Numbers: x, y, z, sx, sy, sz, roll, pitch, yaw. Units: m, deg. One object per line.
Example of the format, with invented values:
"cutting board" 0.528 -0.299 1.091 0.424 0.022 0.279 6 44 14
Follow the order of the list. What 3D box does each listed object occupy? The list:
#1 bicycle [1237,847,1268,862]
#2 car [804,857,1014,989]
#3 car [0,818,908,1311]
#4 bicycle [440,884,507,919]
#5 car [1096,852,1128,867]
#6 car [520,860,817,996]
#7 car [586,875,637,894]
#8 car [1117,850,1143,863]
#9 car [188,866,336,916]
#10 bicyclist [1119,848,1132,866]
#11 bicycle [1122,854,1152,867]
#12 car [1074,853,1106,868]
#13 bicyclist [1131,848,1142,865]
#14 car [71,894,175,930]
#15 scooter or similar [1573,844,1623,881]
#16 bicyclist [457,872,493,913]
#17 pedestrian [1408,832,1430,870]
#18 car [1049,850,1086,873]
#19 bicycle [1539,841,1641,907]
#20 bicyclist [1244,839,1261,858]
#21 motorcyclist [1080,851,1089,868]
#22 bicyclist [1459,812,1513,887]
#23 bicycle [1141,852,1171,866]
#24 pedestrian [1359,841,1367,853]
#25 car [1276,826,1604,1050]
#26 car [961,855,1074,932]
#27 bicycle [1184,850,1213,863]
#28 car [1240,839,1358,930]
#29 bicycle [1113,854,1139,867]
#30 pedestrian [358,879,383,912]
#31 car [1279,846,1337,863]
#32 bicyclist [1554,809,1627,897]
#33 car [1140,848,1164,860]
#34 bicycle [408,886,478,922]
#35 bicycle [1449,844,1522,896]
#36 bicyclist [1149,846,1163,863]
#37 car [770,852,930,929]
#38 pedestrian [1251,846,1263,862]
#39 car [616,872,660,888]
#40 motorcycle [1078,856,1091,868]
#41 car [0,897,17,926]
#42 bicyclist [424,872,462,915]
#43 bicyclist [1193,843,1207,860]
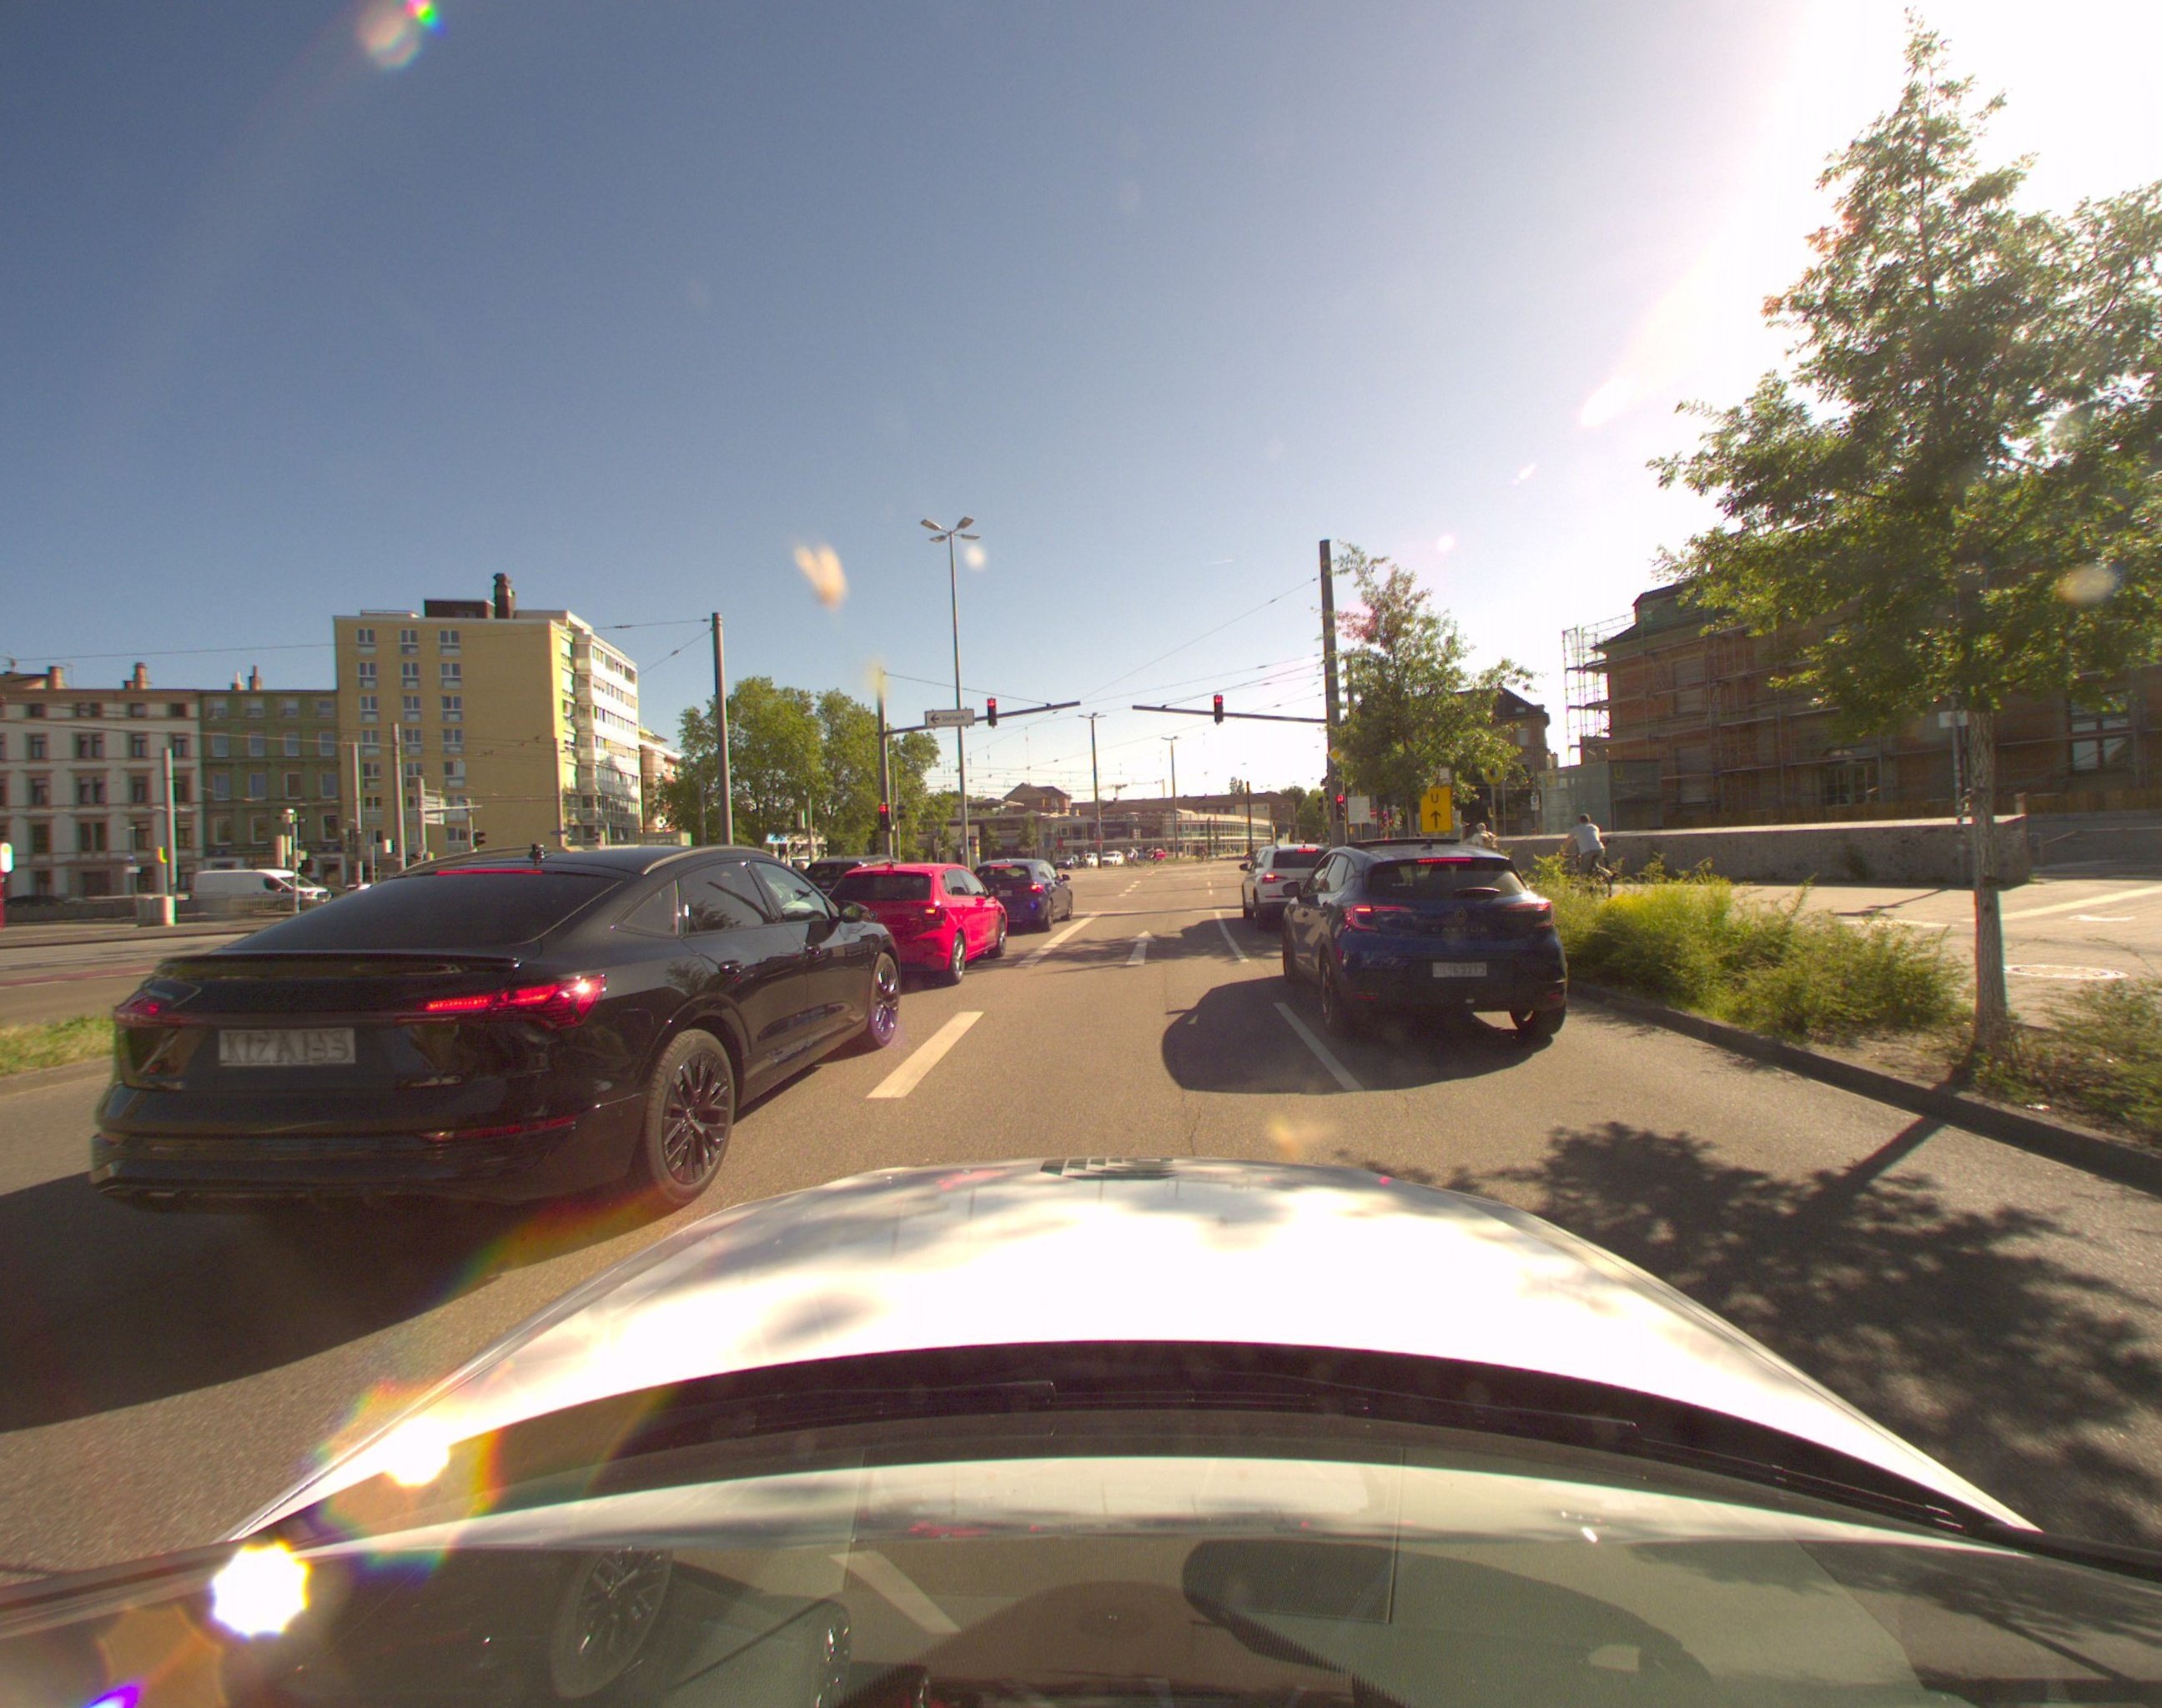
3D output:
"bicycle" 15.809 0.037 75.108 2.655 1.188 0.941 -2 2 -20
"car" -2.089 0.771 10.982 1.663 1.442 3.728 0 0 7
"car" -2.593 0.708 4.908 1.976 1.624 4.380 -1 0 2
"bicycle" -21.980 1.718 29.475 1.942 1.165 0.644 -2 0 3
"car" 3.183 0.550 83.091 1.709 1.442 4.208 -2 0 24
"car" -5.113 0.824 10.753 1.717 1.442 3.804 -1 0 5
"car" -41.371 2.707 71.825 3.437 1.510 1.685 -2 0 -14
"car" 5.829 0.280 97.164 1.709 1.442 4.208 0 0 24
"car" -45.122 2.002 45.003 5.490 2.411 1.992 -2 0 -12
"bicyclist" 4.145 0.243 75.162 0.986 1.604 0.756 -2 0 -11
"bicycle" 5.009 0.572 72.971 2.634 1.095 0.969 -2 0 0
"car" 0.979 0.642 85.612 1.709 1.442 4.208 -2 0 24
"bicyclist" 4.966 0.202 72.974 0.958 1.449 0.969 -2 0 1
"car" -63.036 3.796 53.665 3.988 2.013 1.993 -2 2 -11
"scooter or similar" 14.956 0.238 23.590 0.468 1.012 1.243 -2 2 -16
"bicyclist" -21.933 1.380 29.475 0.771 1.444 0.644 -2 0 3
"pedestrian" 15.596 -0.131 37.572 0.588 1.723 0.876 -4 -3 44
"car" -1.320 0.709 79.326 1.975 2.013 4.024 -1 2 25
"bicycle" 9.879 0.364 15.892 0.714 1.165 1.868 -3 0 -3
"bicyclist" 15.809 -0.513 75.085 1.187 1.776 0.941 -2 2 -19
"motorcyclist" 0.336 0.486 78.815 0.545 1.621 0.748 -2 0 20
"bicyclist" 9.854 -0.105 19.839 0.718 1.762 0.976 -3 0 -3
"bicycle" 7.079 0.482 76.543 2.648 1.188 0.944 -2 2 -12
"pedestrian" 32.569 -0.823 94.064 0.596 1.409 0.800 -2 2 0
"car" 3.063 0.624 7.857 1.866 1.617 3.805 -1 0 7
"car" -1.232 0.758 17.447 1.716 1.442 3.806 0 0 7
"bicycle" 11.562 0.255 79.934 2.648 1.188 0.944 -2 2 -12
"car" 4.262 0.549 16.436 1.866 1.617 3.633 -1 0 8
"bicycle" 4.151 0.635 75.159 2.179 1.095 0.756 -2 0 -11
"pedestrian" -32.286 1.879 37.025 0.593 1.408 0.567 -2 2 -11
"car" 18.927 0.025 67.860 4.366 1.442 1.722 0 0 -14
"bicyclist" 9.864 -0.022 15.794 0.718 1.617 0.976 -3 0 -3
"car" 9.065 -0.040 103.862 1.709 1.442 4.208 0 0 24
"bicycle" -22.163 1.720 28.314 1.942 1.165 0.644 -2 0 3
"bicycle" 9.869 0.369 19.941 0.744 1.165 1.868 -3 0 -3
"bicyclist" 7.043 0.035 76.544 1.063 1.584 0.944 -2 2 -12
"car" -4.734 0.675 17.299 1.714 1.442 3.921 0 0 10
"pedestrian" 18.239 -0.055 84.376 0.855 1.610 0.696 -3 2 -33
"car" -41.433 2.430 76.278 3.268 1.316 1.518 -2 2 -15
"motorcycle" 0.341 0.770 78.808 0.557 1.094 1.845 -2 0 20
"car" -70.913 3.760 51.498 3.988 1.771 1.993 -2 2 -10
"bicyclist" -22.180 1.357 28.316 0.770 1.444 0.644 -2 0 4
"bicyclist" 11.658 -0.219 79.934 1.063 1.584 0.944 -2 2 -12
